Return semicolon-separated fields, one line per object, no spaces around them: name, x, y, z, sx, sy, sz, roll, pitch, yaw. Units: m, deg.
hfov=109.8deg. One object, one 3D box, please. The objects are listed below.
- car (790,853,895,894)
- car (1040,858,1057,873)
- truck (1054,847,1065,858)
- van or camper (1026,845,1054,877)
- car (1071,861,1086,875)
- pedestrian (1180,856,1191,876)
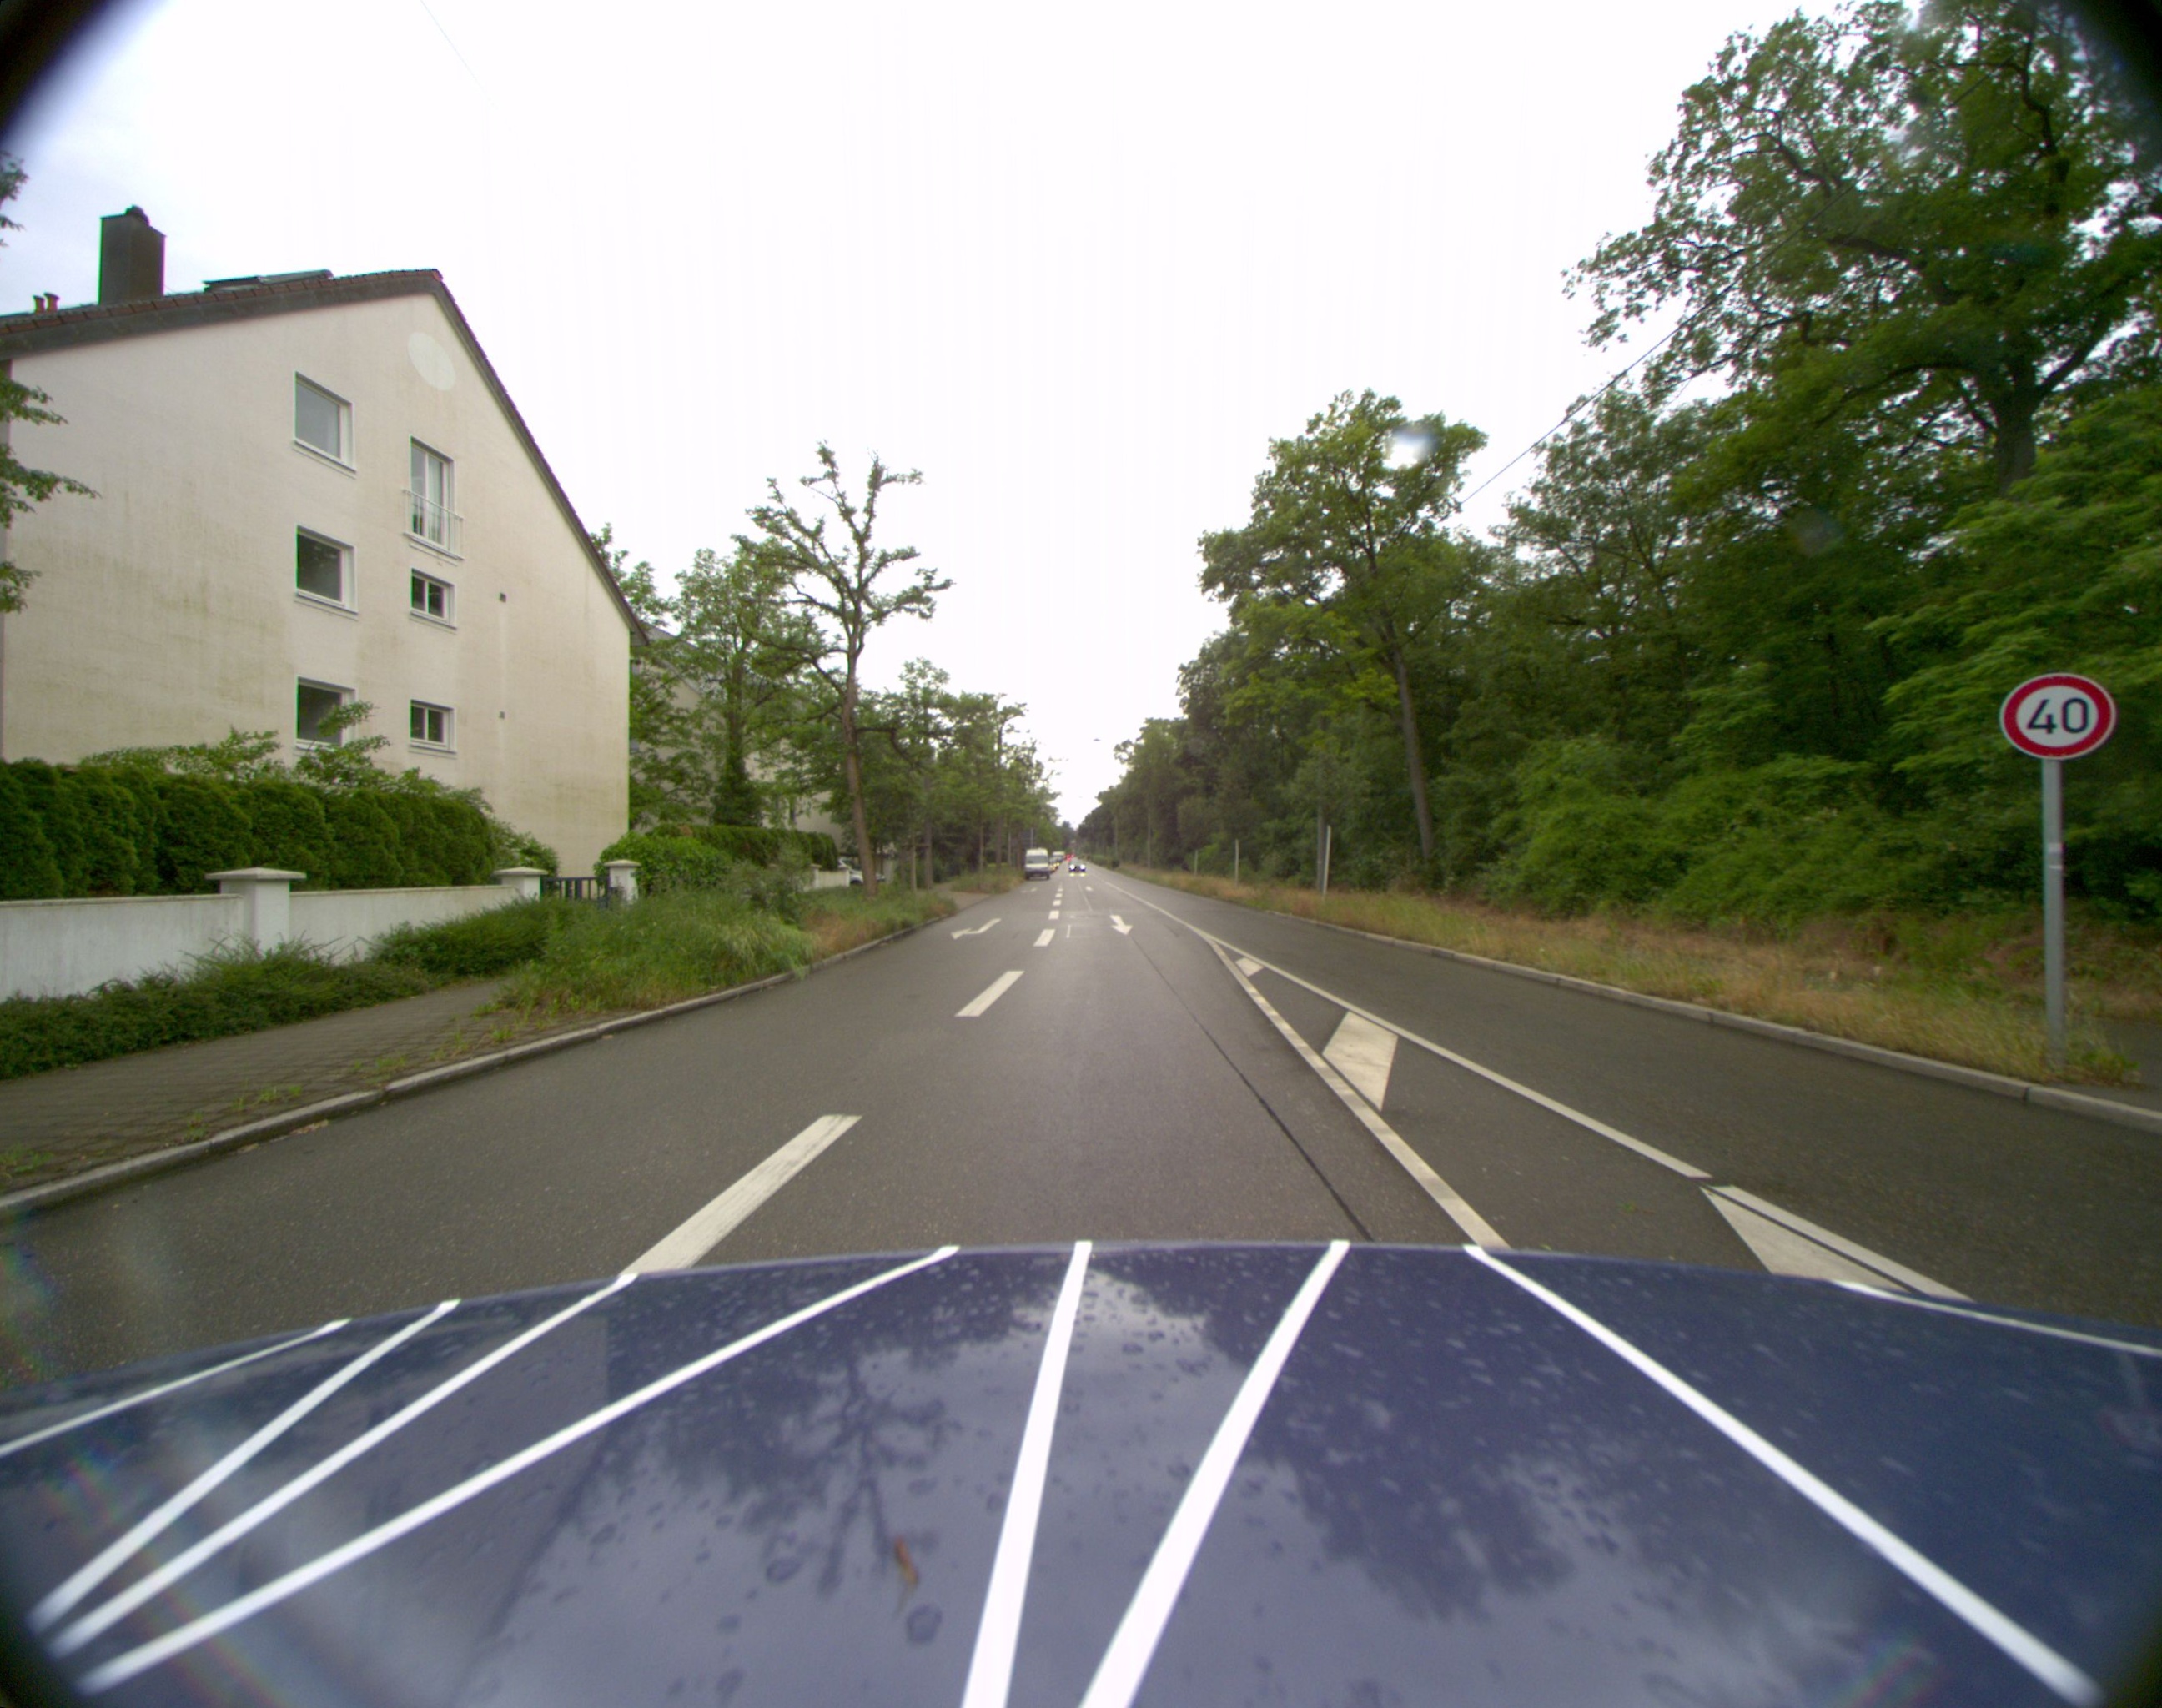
car;-11.202;0.925;35.859;4.312;1.807;1.876;-1;0;10
car;-3.467;1.249;81.560;1.576;1.463;3.764;-2;0;-1
truck;-4.912;-0.343;173.145;2.230;2.321;5.112;1;0;-2
van or camper;-3.341;0.535;63.480;2.042;2.465;5.637;-3;0;-1
car;-0.309;1.543;86.489;1.622;1.459;4.409;-2;0;-2
pedestrian;8.551;0.955;61.995;0.783;1.598;0.732;0;1;-2
